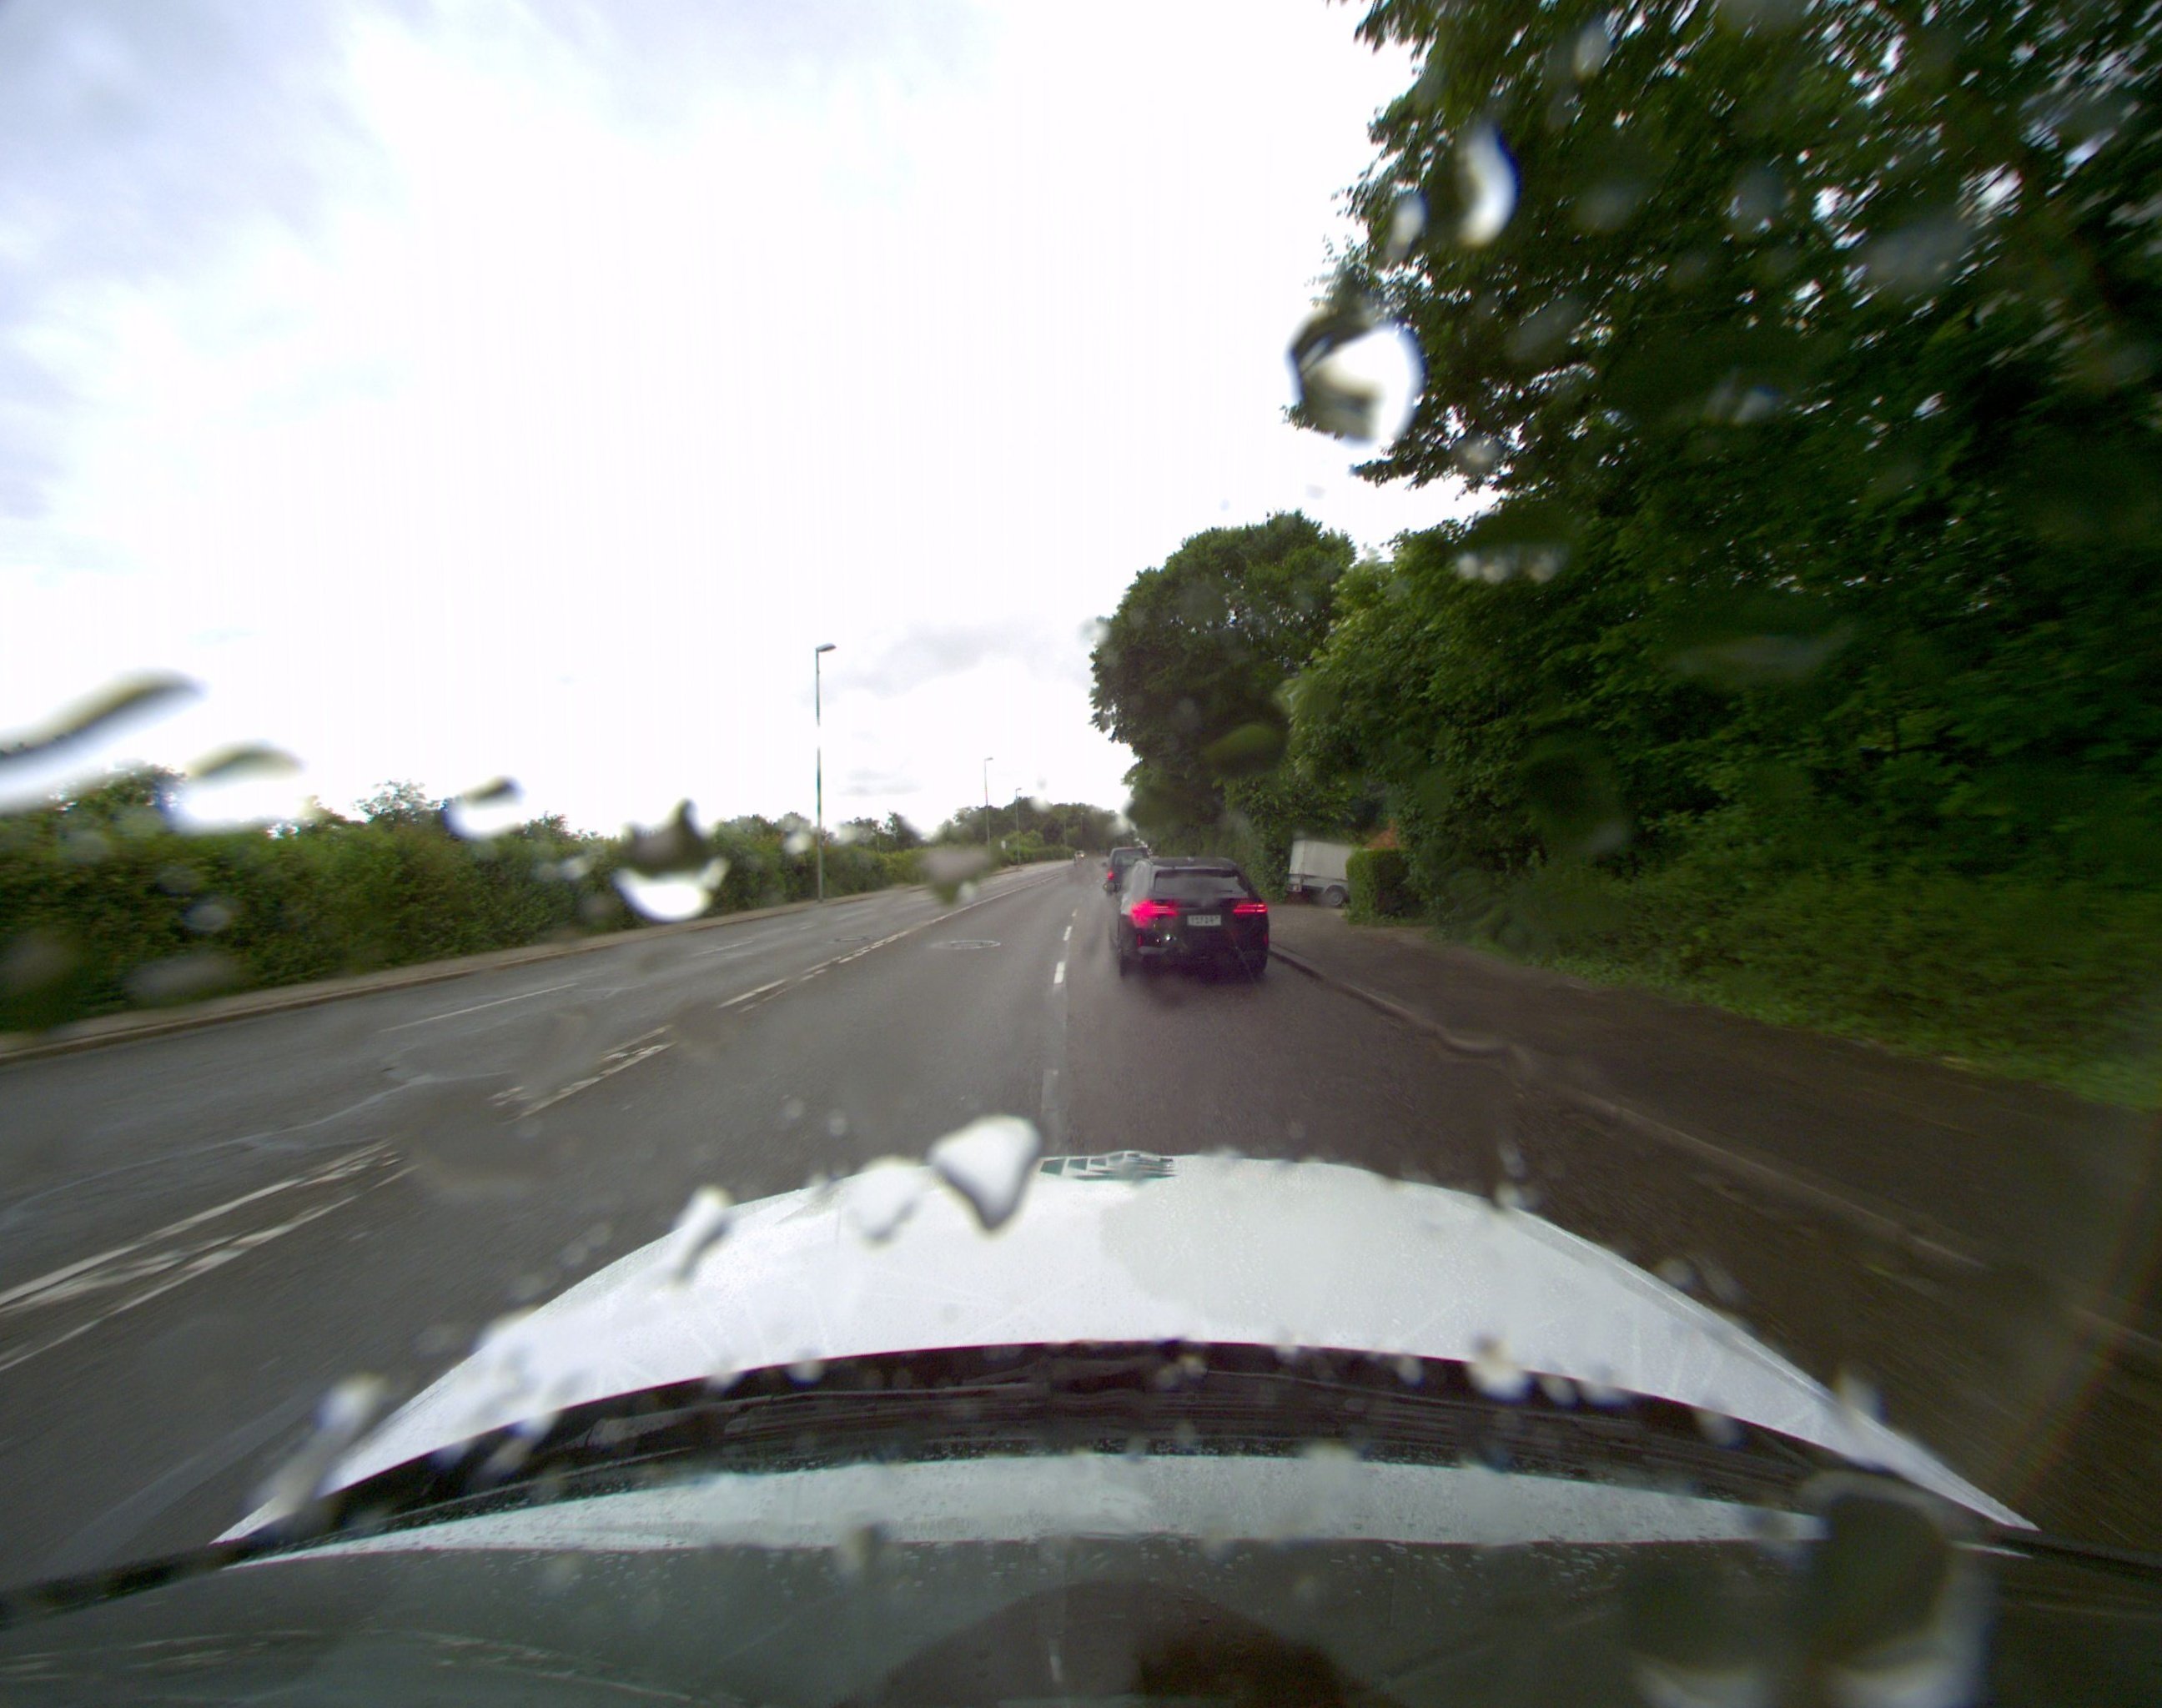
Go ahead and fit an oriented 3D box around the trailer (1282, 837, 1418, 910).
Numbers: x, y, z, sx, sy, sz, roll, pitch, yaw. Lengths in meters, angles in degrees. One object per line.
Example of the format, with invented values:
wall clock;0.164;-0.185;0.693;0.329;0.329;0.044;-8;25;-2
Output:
trailer;7.041;0.495;21.489;2.971;1.570;1.488;6;0;-1

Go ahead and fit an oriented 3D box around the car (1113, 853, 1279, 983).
car;1.500;0.734;11.375;1.888;1.489;4.006;0;0;5

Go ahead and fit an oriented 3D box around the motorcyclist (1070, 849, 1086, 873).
motorcyclist;-0.176;0.487;55.406;1.035;1.567;0.856;0;-1;3

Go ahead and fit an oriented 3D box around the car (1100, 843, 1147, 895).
car;1.698;0.536;31.796;1.622;1.833;4.005;-3;0;4

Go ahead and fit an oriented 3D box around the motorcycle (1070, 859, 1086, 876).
motorcycle;-0.164;0.920;55.516;0.872;1.124;2.744;0;-1;4

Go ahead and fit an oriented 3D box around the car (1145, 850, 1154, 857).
car;16.287;-0.178;193.157;1.925;1.442;4.416;-3;0;7

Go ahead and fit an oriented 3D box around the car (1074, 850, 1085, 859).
car;-0.265;0.101;145.500;1.749;1.568;4.003;-4;0;2
